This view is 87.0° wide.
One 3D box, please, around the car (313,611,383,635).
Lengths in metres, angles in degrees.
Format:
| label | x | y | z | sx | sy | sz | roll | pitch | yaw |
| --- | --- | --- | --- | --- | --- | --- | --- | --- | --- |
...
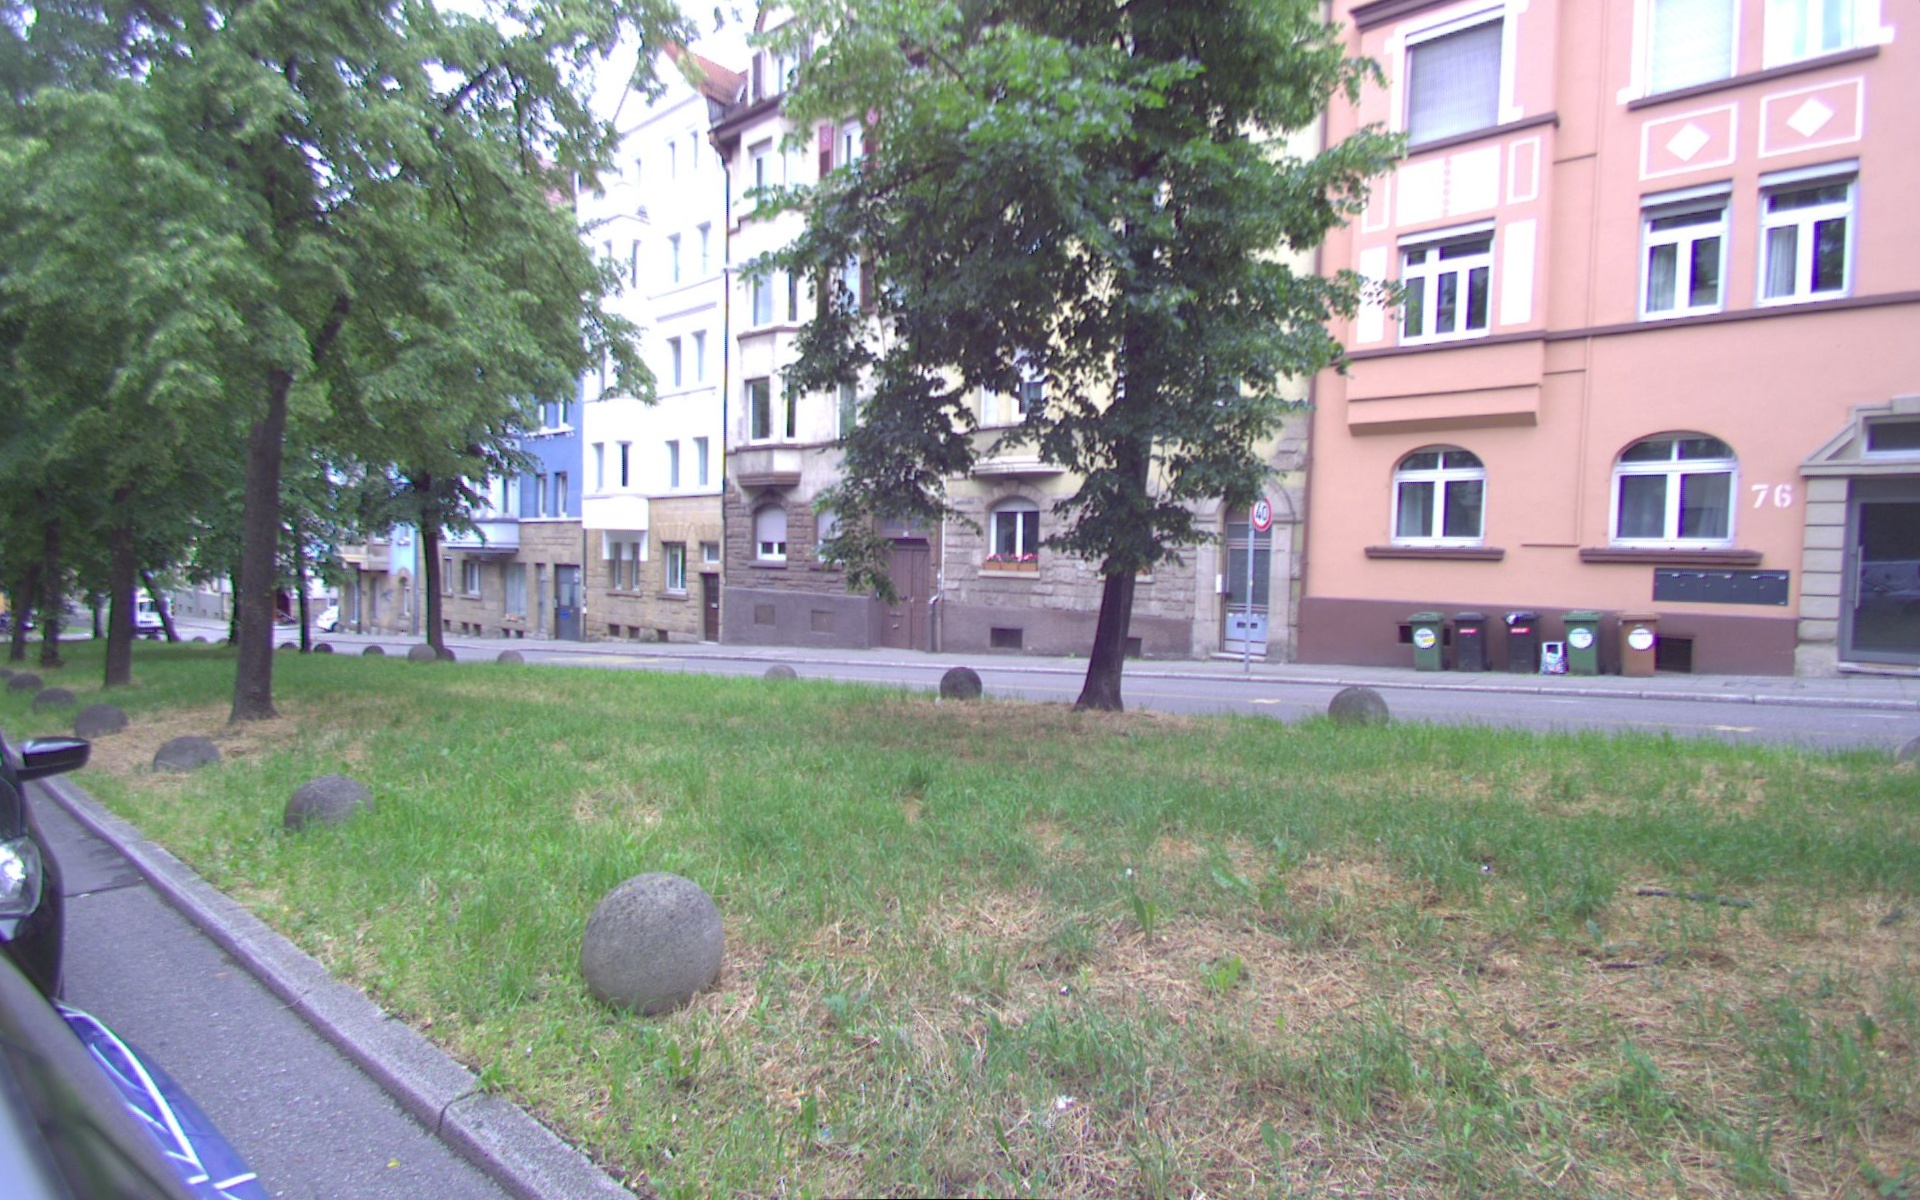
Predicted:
| label | x | y | z | sx | sy | sz | roll | pitch | yaw |
| --- | --- | --- | --- | --- | --- | --- | --- | --- | --- |
| car | -35.358 | 1.308 | 58.500 | 3.244 | 1.341 | 1.674 | -1 | 0 | -40 |

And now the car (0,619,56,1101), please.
| label | x | y | z | sx | sy | sz | roll | pitch | yaw |
| --- | --- | --- | --- | --- | --- | --- | --- | --- | --- |
| car | -4.631 | 0.798 | 3.680 | 3.295 | 1.476 | 1.590 | -1 | -2 | 41 |

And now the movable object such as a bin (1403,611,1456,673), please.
| label | x | y | z | sx | sy | sz | roll | pitch | yaw |
| --- | --- | --- | --- | --- | --- | --- | --- | --- | --- |
| movable object such as a bin | 7.496 | 0.654 | 16.153 | 0.617 | 0.955 | 0.610 | -1 | 0 | 40 |

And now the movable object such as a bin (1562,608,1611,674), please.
| label | x | y | z | sx | sy | sz | roll | pitch | yaw |
| --- | --- | --- | --- | --- | --- | --- | --- | --- | --- |
| movable object such as a bin | 9.144 | 0.586 | 14.770 | 0.558 | 0.928 | 0.648 | -1 | 0 | 36 |

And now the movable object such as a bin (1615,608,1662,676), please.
| label | x | y | z | sx | sy | sz | roll | pitch | yaw |
| --- | --- | --- | --- | --- | --- | --- | --- | --- | --- |
| movable object such as a bin | 9.633 | 0.579 | 14.355 | 0.514 | 0.928 | 0.750 | -1 | 0 | 36 |

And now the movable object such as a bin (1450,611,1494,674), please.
| label | x | y | z | sx | sy | sz | roll | pitch | yaw |
| --- | --- | --- | --- | --- | --- | --- | --- | --- | --- |
| movable object such as a bin | 8.000 | 0.647 | 15.818 | 0.531 | 0.953 | 0.575 | -1 | 0 | 35 |

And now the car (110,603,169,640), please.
| label | x | y | z | sx | sy | sz | roll | pitch | yaw |
| --- | --- | --- | --- | --- | --- | --- | --- | --- | --- |
| car | -46.452 | 1.232 | 57.258 | 5.308 | 1.959 | 1.971 | -2 | 0 | 44 |
